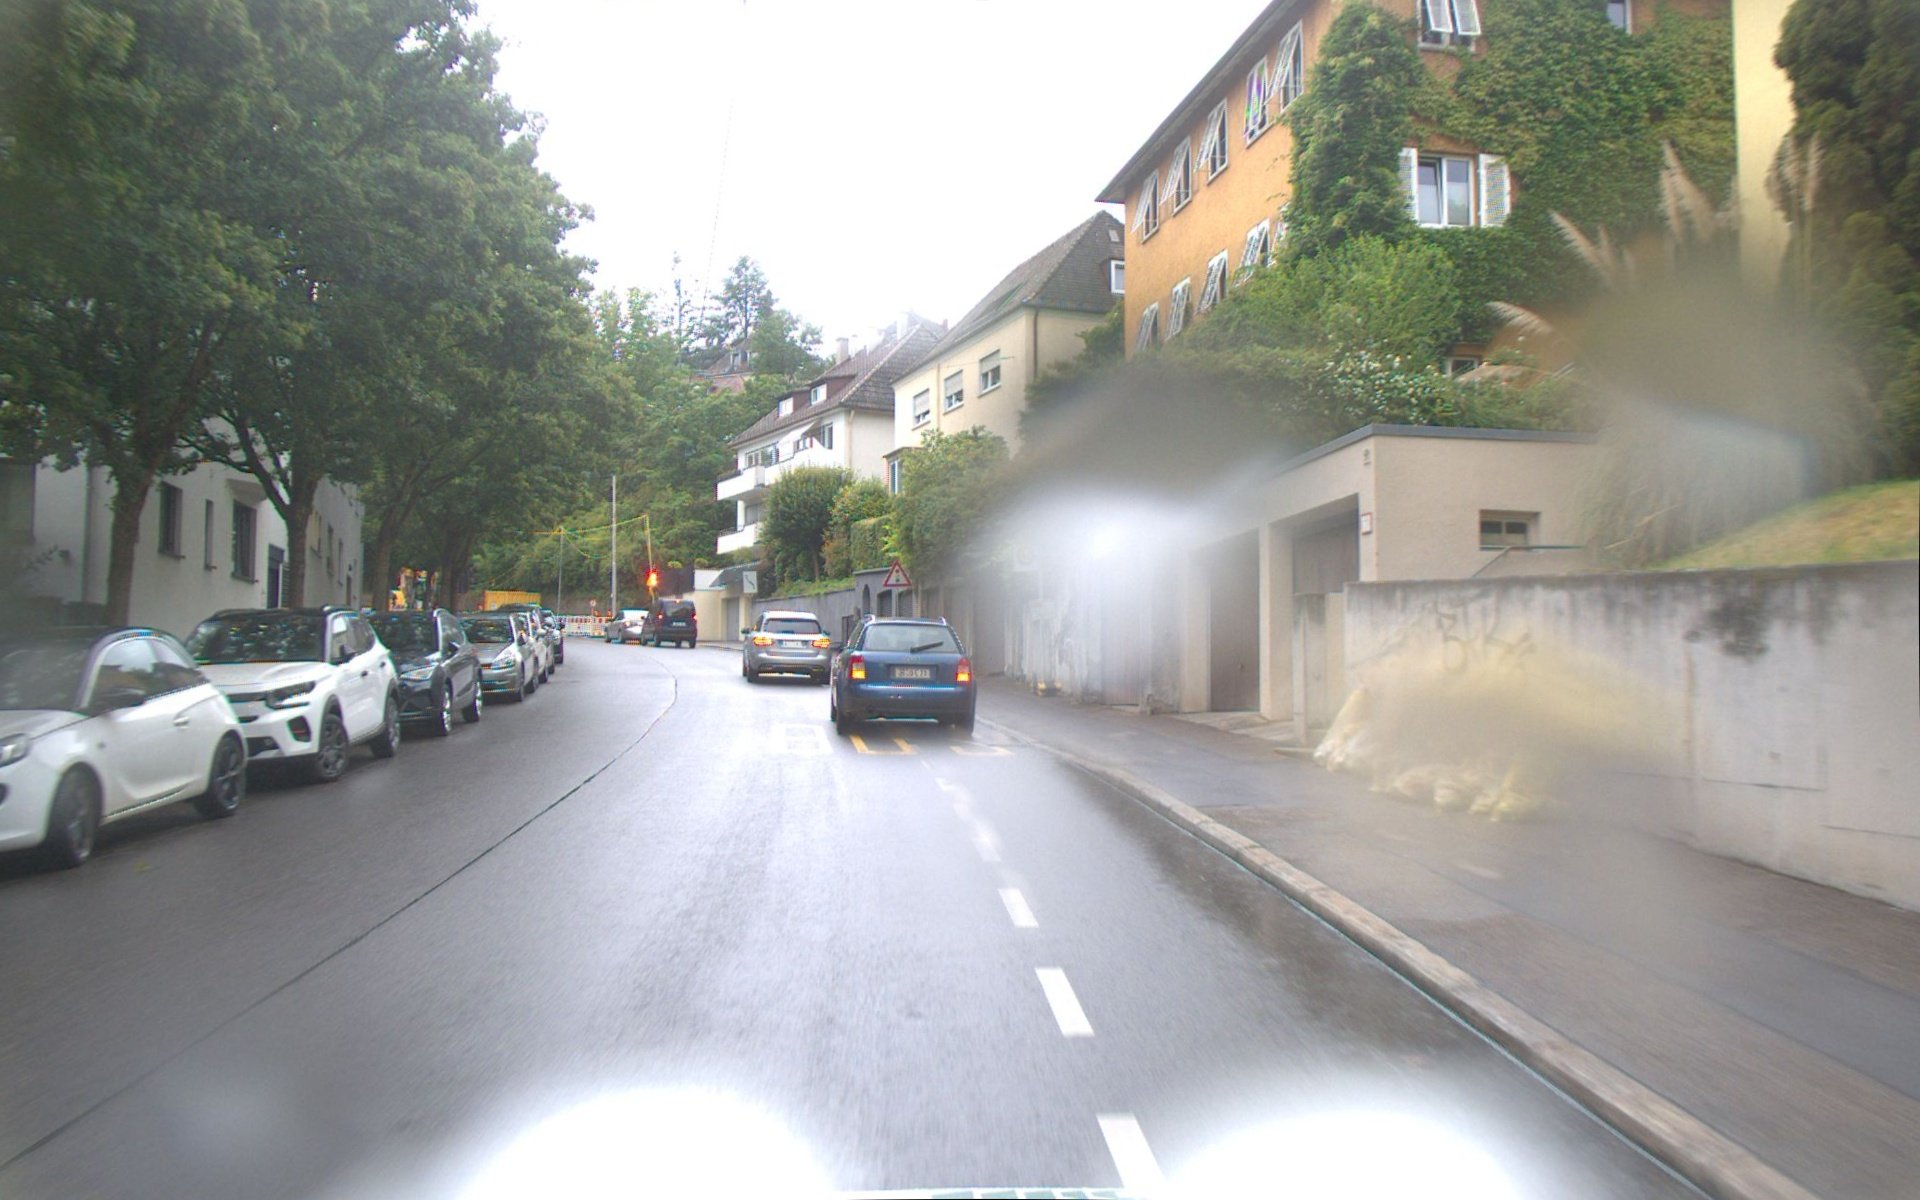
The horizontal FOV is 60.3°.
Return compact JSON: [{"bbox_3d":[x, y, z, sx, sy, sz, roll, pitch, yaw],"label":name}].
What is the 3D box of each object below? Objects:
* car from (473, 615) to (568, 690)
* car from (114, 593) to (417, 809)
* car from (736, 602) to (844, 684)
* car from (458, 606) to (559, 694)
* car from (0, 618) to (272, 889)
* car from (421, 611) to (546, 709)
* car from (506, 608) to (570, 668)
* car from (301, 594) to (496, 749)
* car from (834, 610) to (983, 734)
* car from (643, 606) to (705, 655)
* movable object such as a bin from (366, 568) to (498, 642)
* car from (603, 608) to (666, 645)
[{"bbox_3d":[-9.966,1.159,37.770,1.634,1.514,4.464,-3,0,-10],"label":"car"},{"bbox_3d":[-6.539,0.878,16.017,1.563,1.687,3.917,-5,0,-7],"label":"car"},{"bbox_3d":[-3.739,0.881,35.805,1.892,1.646,4.308,1,0,-12],"label":"car"},{"bbox_3d":[-8.852,0.937,32.608,1.546,1.514,3.461,-3,1,-10],"label":"car"},{"bbox_3d":[-6.220,0.957,11.159,1.586,1.496,3.667,-5,0,-2],"label":"car"},{"bbox_3d":[-8.207,1.005,28.761,1.589,1.496,3.962,-3,0,-10],"label":"car"},{"bbox_3d":[-11.761,1.046,46.260,1.529,1.514,4.084,-3,0,-13],"label":"car"},{"bbox_3d":[-7.111,0.858,21.290,1.588,1.687,3.916,-4,0,-8],"label":"car"},{"bbox_3d":[-0.646,0.866,21.518,1.749,1.467,3.962,0,0,-1],"label":"car"},{"bbox_3d":[-11.327,1.168,65.378,1.962,1.825,3.981,-1,0,-17],"label":"car"},{"bbox_3d":[-30.413,0.257,95.248,7.157,4.084,2.827,1,0,25],"label":"movable object such as a bin"},{"bbox_3d":[-13.950,1.119,70.711,1.699,1.512,4.043,-1,0,-26],"label":"car"}]
